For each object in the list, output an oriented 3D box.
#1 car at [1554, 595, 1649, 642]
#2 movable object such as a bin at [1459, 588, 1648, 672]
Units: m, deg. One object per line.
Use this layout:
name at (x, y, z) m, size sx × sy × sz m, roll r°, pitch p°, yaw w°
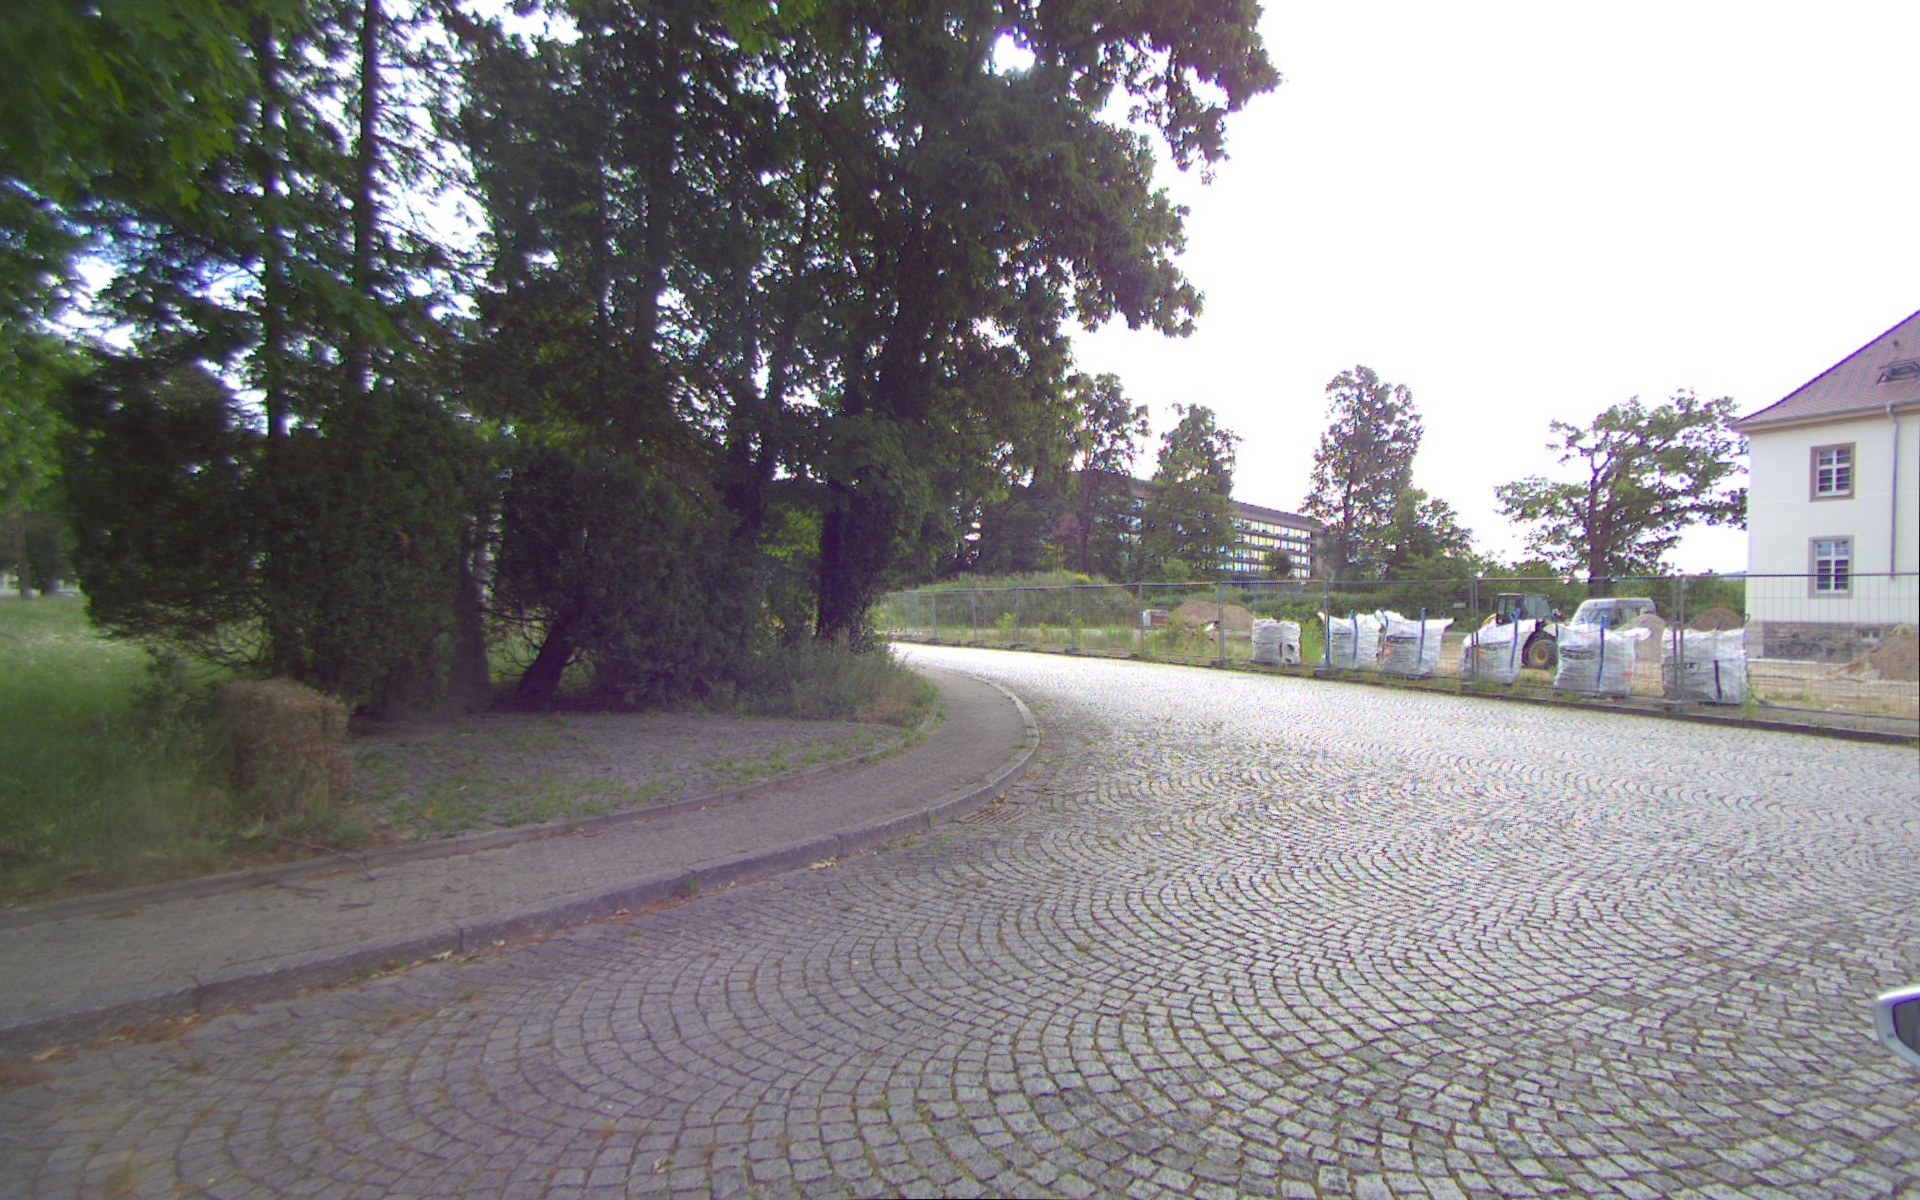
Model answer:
car at (31.200, 0.913, 48.836) m, size 4.845 × 2.179 × 2.056 m, roll 1°, pitch 0°, yaw -32°
movable object such as a bin at (19.903, 0.948, 34.005) m, size 1.974 × 2.590 × 5.310 m, roll 1°, pitch 0°, yaw -26°
